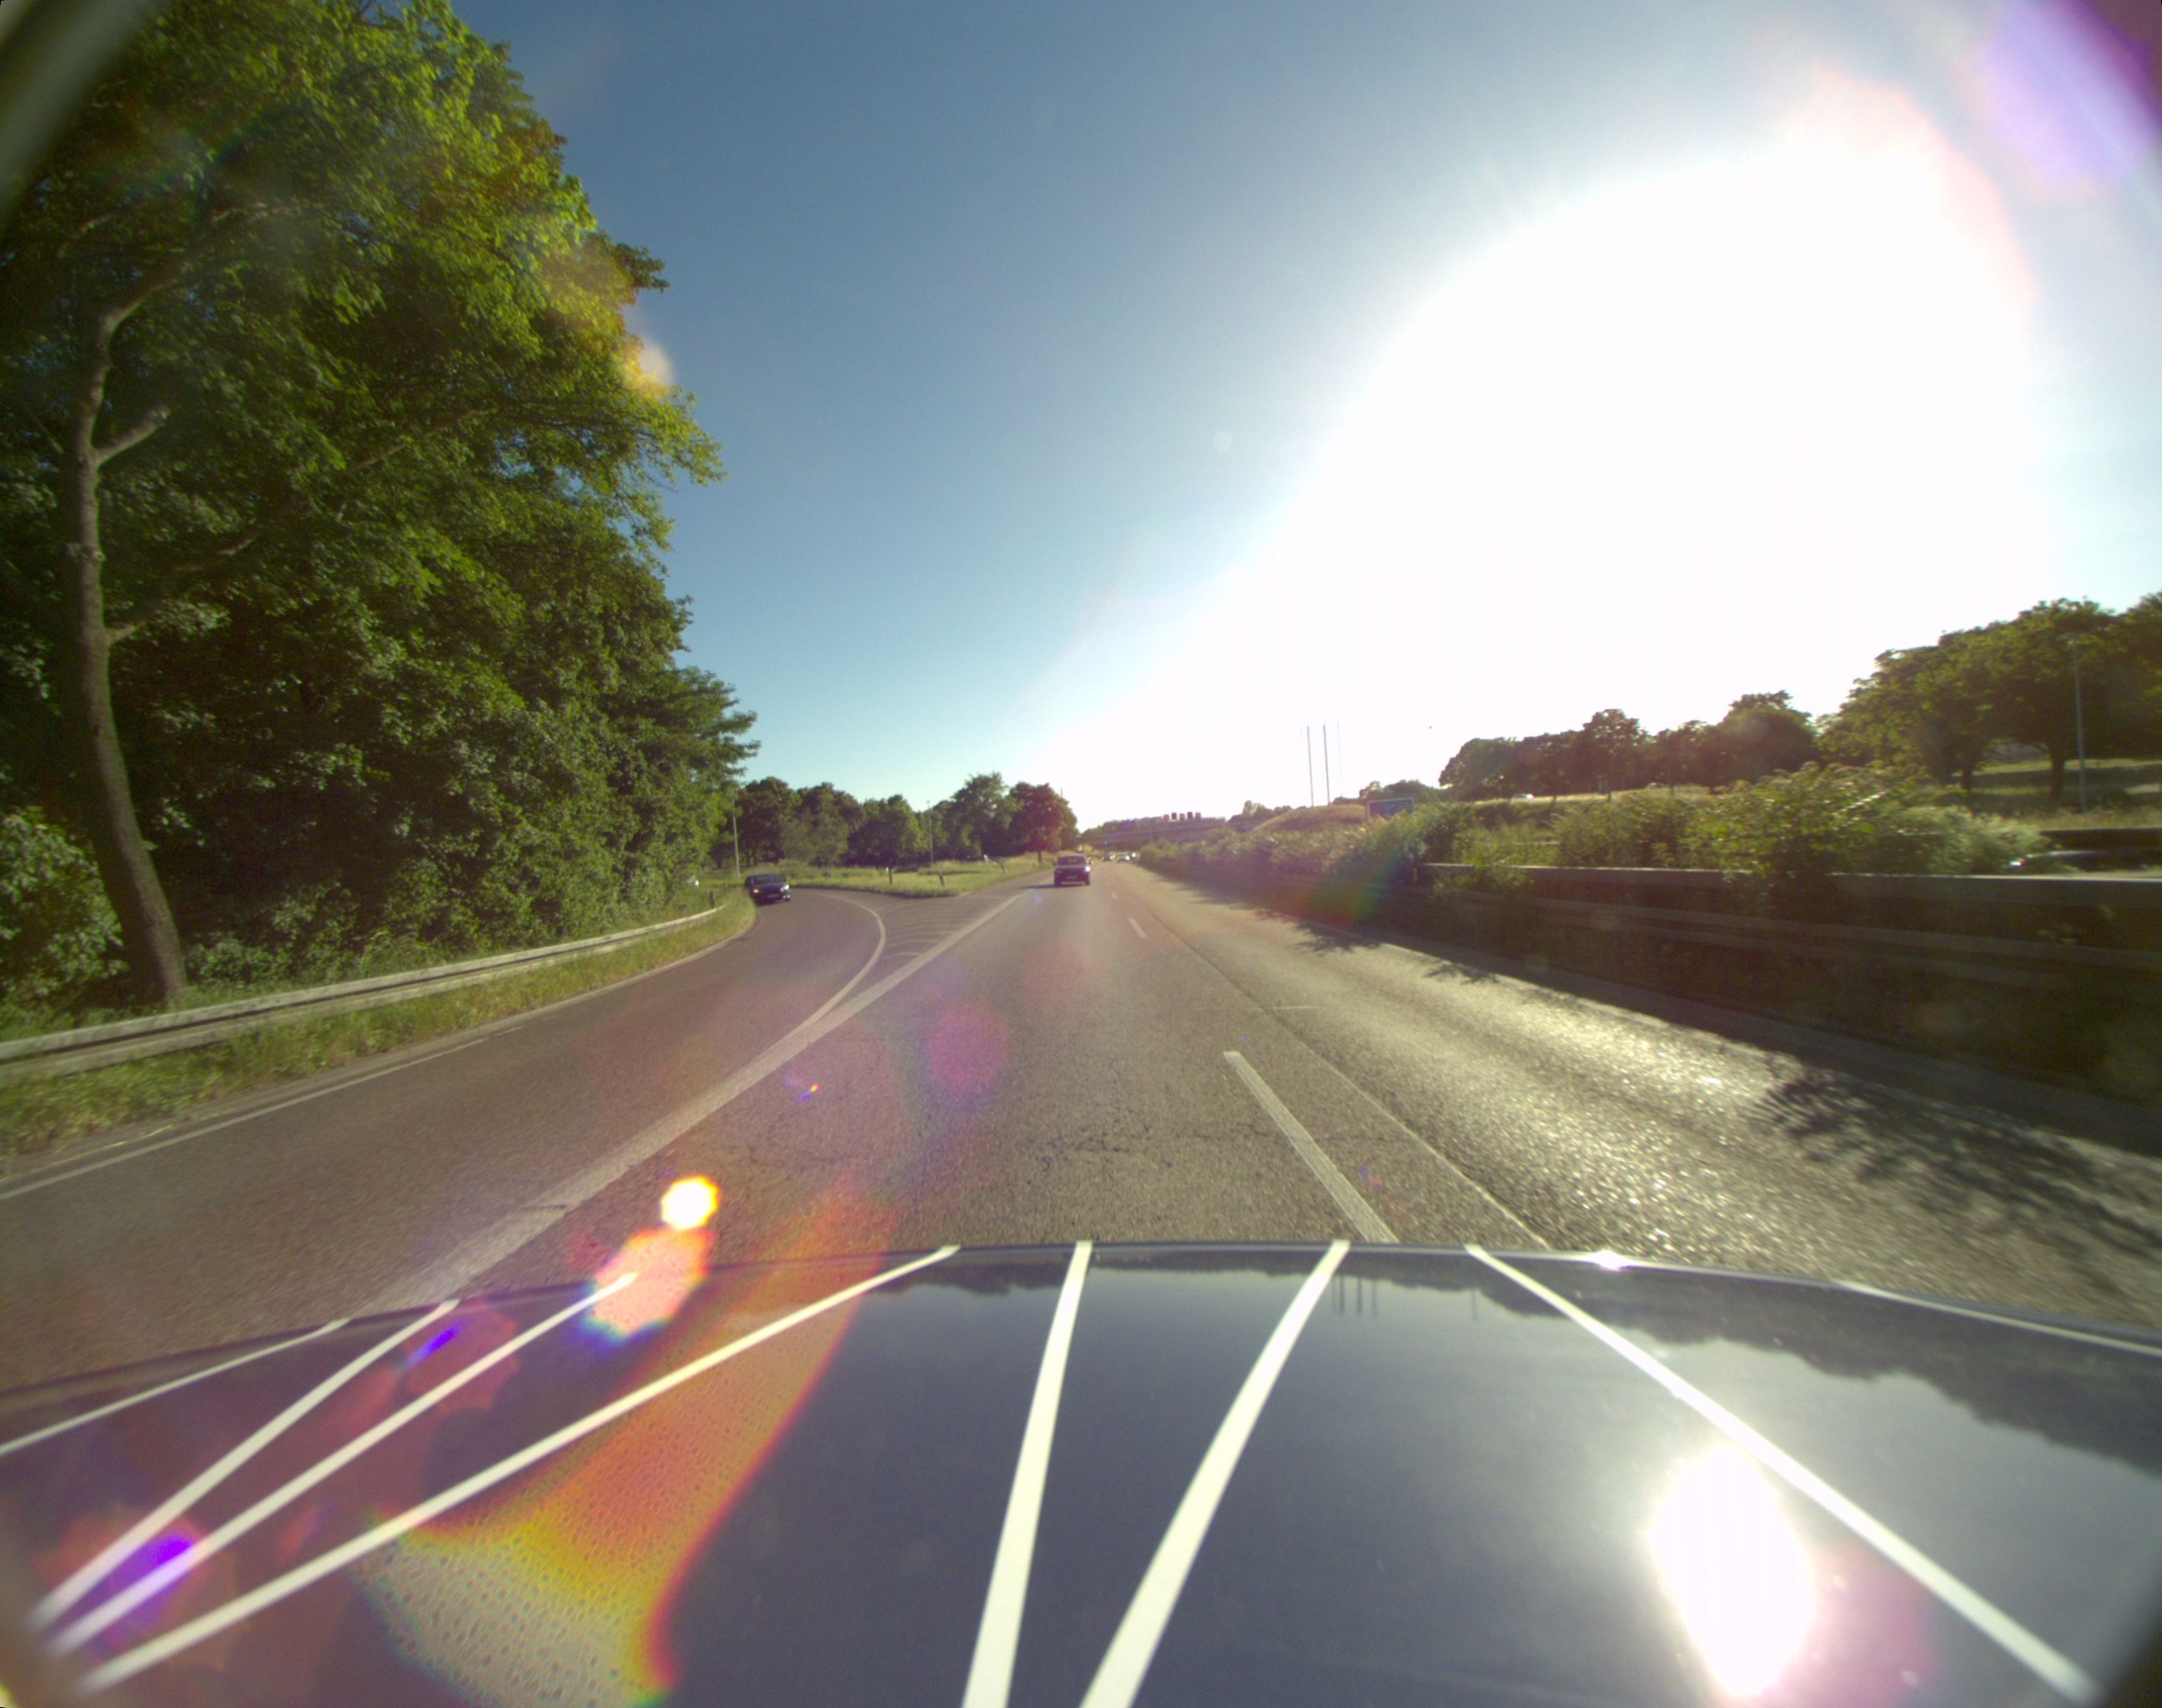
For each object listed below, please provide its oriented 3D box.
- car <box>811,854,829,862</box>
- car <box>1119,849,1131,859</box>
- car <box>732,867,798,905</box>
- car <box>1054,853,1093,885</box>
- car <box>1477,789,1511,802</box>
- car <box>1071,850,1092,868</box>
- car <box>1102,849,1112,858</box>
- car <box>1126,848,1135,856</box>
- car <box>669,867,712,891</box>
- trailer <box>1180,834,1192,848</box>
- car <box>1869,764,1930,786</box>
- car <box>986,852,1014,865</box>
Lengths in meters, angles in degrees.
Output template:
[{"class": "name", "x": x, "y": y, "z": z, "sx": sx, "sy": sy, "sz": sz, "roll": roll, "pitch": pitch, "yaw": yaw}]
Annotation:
[{"class": "car", "x": -60.329, "y": 0.903, "z": 175.682, "sx": 1.906, "sy": 1.567, "sz": 4.004, "roll": -3, "pitch": 0, "yaw": 16}, {"class": "car", "x": 6.828, "y": -0.042, "z": 118.071, "sx": 1.725, "sy": 1.412, "sz": 3.670, "roll": -3, "pitch": 0, "yaw": 3}, {"class": "car", "x": -15.511, "y": 1.550, "z": 37.180, "sx": 1.763, "sy": 1.564, "sz": 4.133, "roll": -8, "pitch": 3, "yaw": -38}, {"class": "car", "x": -0.323, "y": 0.708, "z": 38.691, "sx": 1.703, "sy": 1.497, "sz": 4.580, "roll": -2, "pitch": 0, "yaw": 3}, {"class": "car", "x": 82.461, "y": -11.652, "z": 151.937, "sx": 2.550, "sy": 2.002, "sz": 6.088, "roll": -2, "pitch": 0, "yaw": -13}, {"class": "car", "x": 0.078, "y": 0.424, "z": 72.122, "sx": 1.759, "sy": 1.564, "sz": 4.521, "roll": -2, "pitch": 1, "yaw": 3}, {"class": "car", "x": 4.823, "y": -0.125, "z": 140.374, "sx": 1.682, "sy": 1.412, "sz": 3.670, "roll": -3, "pitch": 0, "yaw": 4}, {"class": "car", "x": 9.829, "y": -0.461, "z": 151.886, "sx": 1.682, "sy": 1.412, "sz": 3.670, "roll": -3, "pitch": 0, "yaw": 4}, {"class": "car", "x": -30.002, "y": 1.924, "z": 58.348, "sx": 1.763, "sy": 1.564, "sz": 4.132, "roll": -8, "pitch": 3, "yaw": -42}, {"class": "trailer", "x": 30.572, "y": -3.747, "z": 222.501, "sx": 2.654, "sy": 4.099, "sz": 10.702, "roll": -3, "pitch": 0, "yaw": 4}, {"class": "car", "x": 96.166, "y": -9.253, "z": 89.407, "sx": 1.998, "sy": 2.002, "sz": 4.939, "roll": -3, "pitch": 0, "yaw": 3}, {"class": "car", "x": -14.978, "y": 0.858, "z": 140.747, "sx": 4.800, "sy": 2.012, "sz": 2.025, "roll": -3, "pitch": 4, "yaw": 2}]
